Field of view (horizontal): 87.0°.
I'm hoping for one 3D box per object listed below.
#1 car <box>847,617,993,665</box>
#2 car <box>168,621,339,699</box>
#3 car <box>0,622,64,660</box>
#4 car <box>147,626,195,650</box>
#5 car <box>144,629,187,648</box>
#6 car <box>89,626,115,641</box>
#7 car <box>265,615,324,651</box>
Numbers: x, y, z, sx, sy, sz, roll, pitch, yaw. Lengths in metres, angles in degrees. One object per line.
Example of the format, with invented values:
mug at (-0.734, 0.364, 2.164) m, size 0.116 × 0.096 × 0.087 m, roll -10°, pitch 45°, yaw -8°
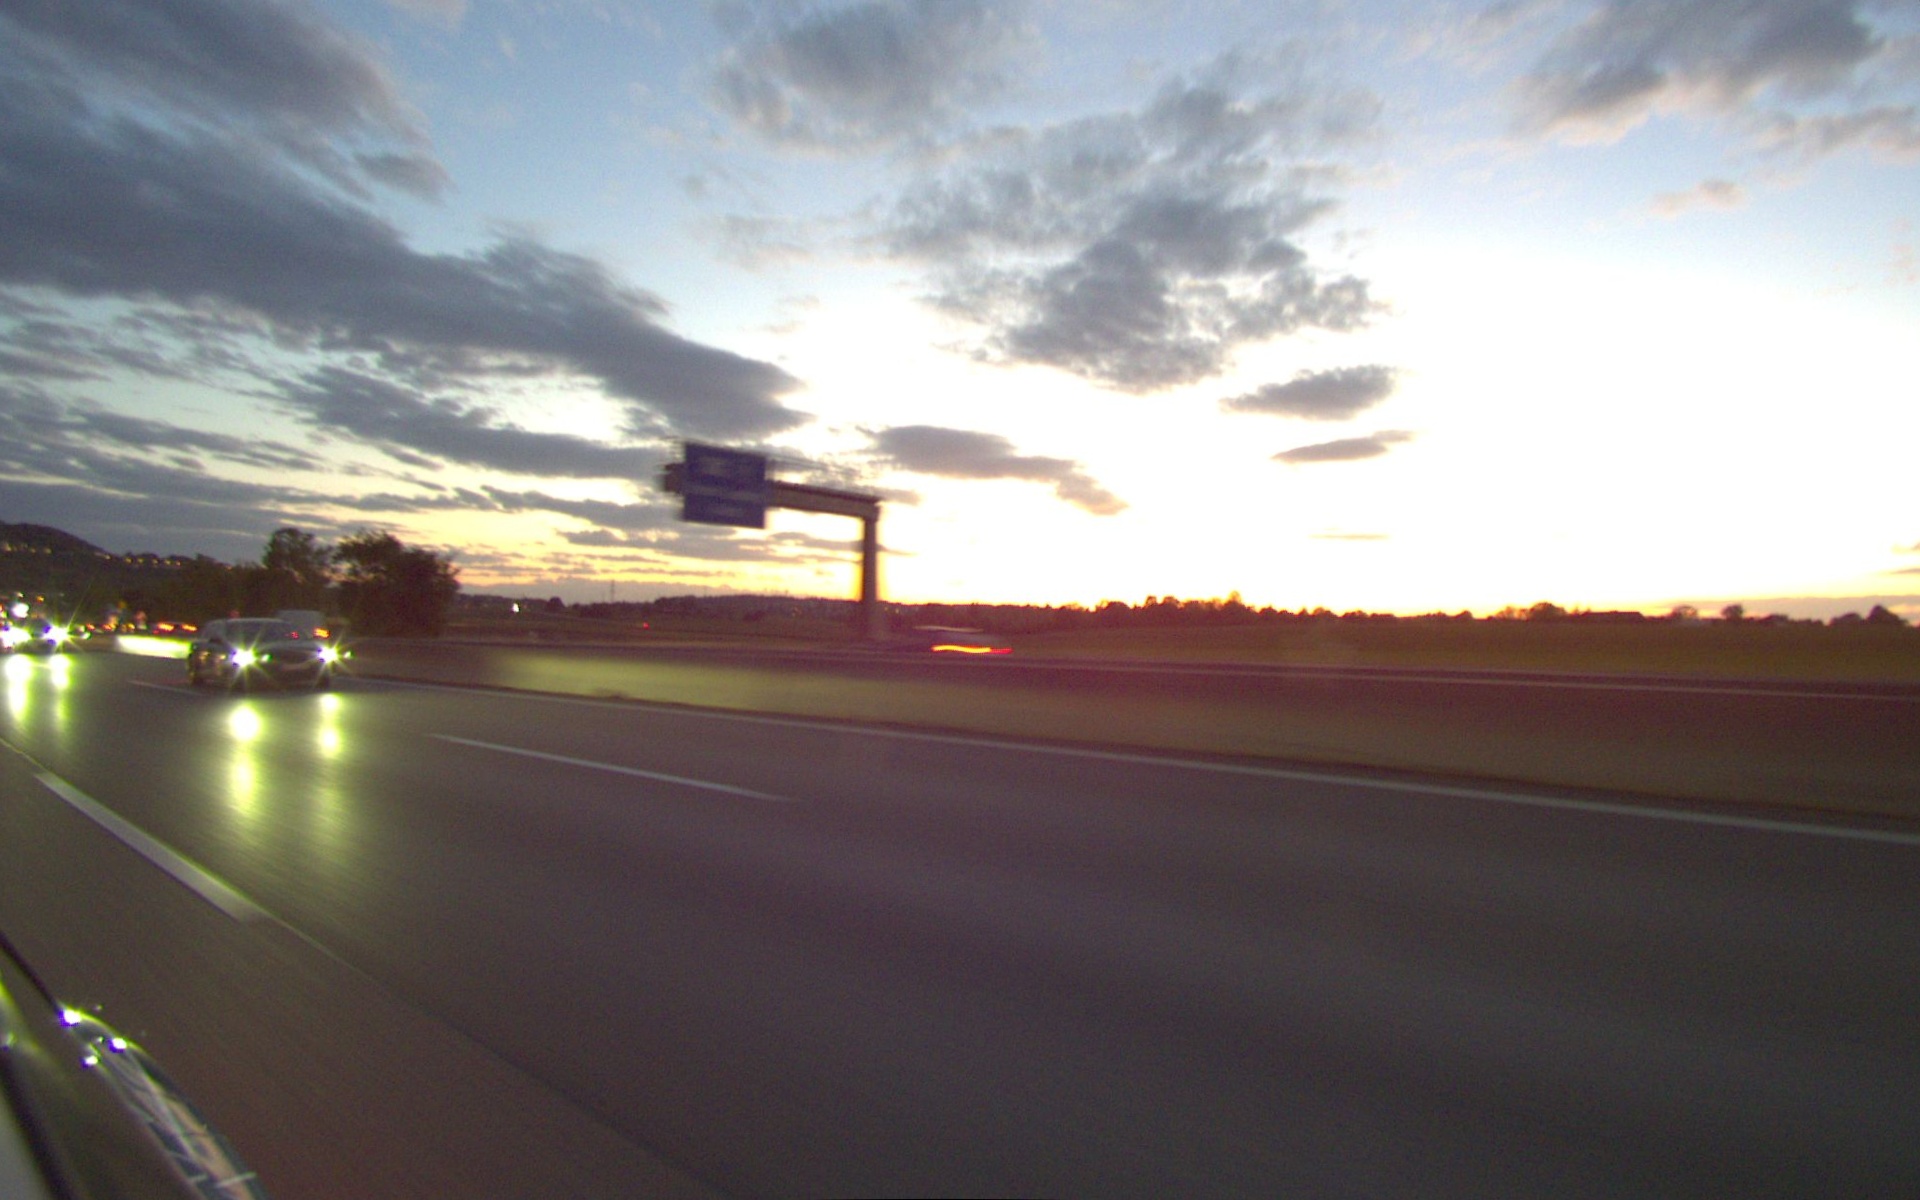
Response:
car at (-1.278, 1.201, 30.855) m, size 4.550 × 1.329 × 1.717 m, roll -1°, pitch 0°, yaw 41°
car at (-15.563, 1.219, 22.166) m, size 5.391 × 1.448 × 1.795 m, roll -1°, pitch 0°, yaw 41°
car at (-43.564, 1.875, 47.372) m, size 4.854 × 1.660 × 1.796 m, roll -1°, pitch 0°, yaw 41°
car at (-49.336, 2.367, 63.267) m, size 3.899 × 1.380 × 1.714 m, roll -1°, pitch 0°, yaw 41°
car at (-64.330, 3.072, 81.917) m, size 4.657 × 1.423 × 1.973 m, roll -1°, pitch 0°, yaw 41°
car at (-101.953, 4.011, 120.210) m, size 4.792 × 1.656 × 1.643 m, roll -1°, pitch 0°, yaw 41°
car at (-46.876, 2.246, 71.242) m, size 5.833 × 2.406 × 1.973 m, roll -1°, pitch 0°, yaw 41°
